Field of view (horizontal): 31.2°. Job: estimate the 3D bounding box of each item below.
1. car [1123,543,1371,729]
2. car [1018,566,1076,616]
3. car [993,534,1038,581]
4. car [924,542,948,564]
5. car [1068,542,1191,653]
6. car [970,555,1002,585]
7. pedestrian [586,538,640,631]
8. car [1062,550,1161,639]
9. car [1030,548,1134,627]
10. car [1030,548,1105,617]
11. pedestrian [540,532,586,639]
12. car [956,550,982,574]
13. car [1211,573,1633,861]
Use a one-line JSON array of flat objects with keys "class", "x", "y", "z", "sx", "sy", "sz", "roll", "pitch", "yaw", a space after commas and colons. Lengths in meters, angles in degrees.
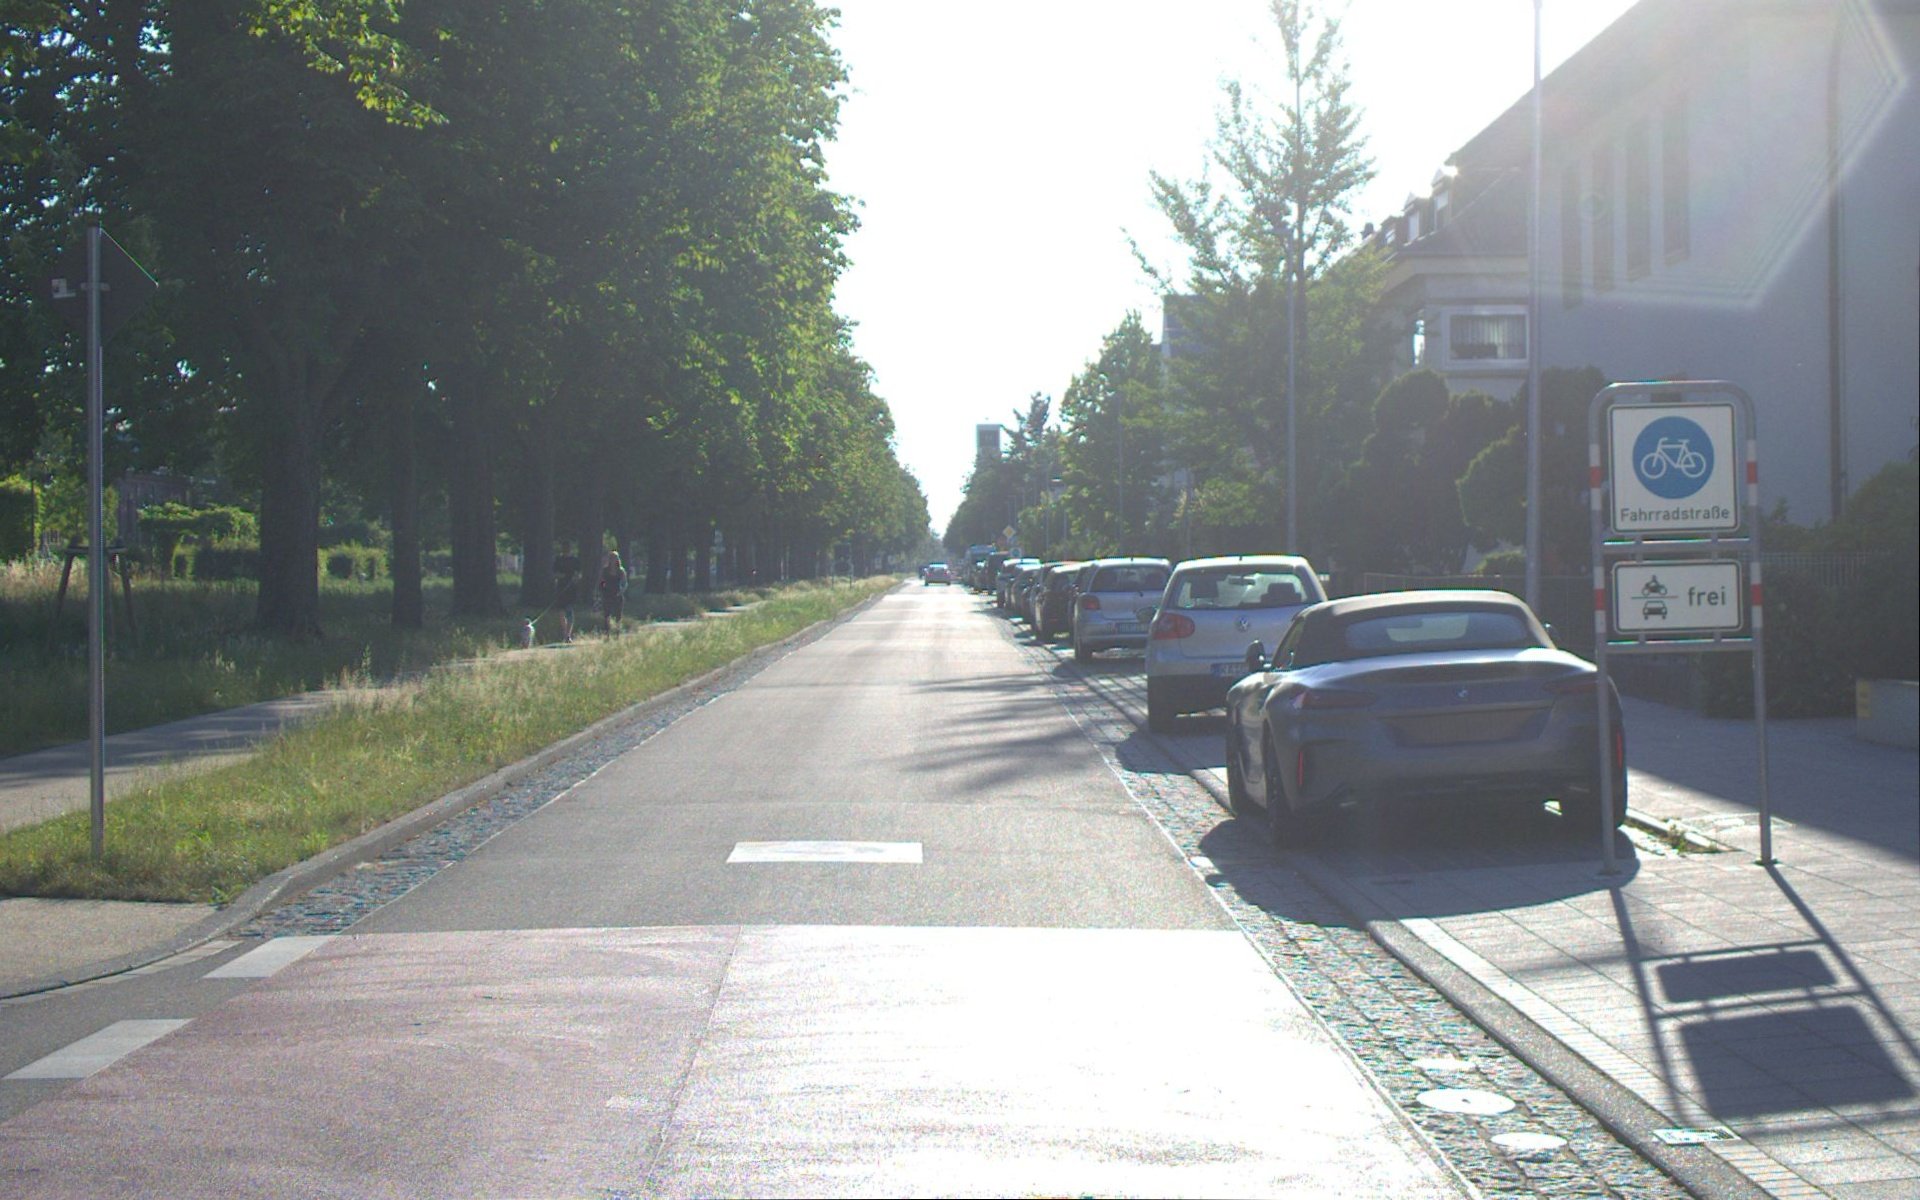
[{"class": "car", "x": 2.509, "y": 0.276, "z": 30.926, "sx": 1.744, "sy": 1.469, "sz": 3.922, "roll": -3, "pitch": 1, "yaw": -1}, {"class": "car", "x": 2.510, "y": -0.269, "z": 100.030, "sx": 1.652, "sy": 1.391, "sz": 3.266, "roll": -1, "pitch": 1, "yaw": 1}, {"class": "car", "x": 1.919, "y": -1.473, "z": 118.920, "sx": 1.498, "sy": 1.561, "sz": 3.266, "roll": -1, "pitch": 1, "yaw": 1}, {"class": "car", "x": -1.679, "y": -3.297, "z": 242.945, "sx": 1.652, "sy": 1.536, "sz": 3.267, "roll": 1, "pitch": 1, "yaw": 0}, {"class": "car", "x": 2.479, "y": -0.067, "z": 50.884, "sx": 1.627, "sy": 1.499, "sz": 3.633, "roll": -2, "pitch": 1, "yaw": 1}, {"class": "car", "x": 1.385, "y": -1.571, "z": 180.730, "sx": 1.652, "sy": 1.536, "sz": 3.266, "roll": 1, "pitch": 1, "yaw": 1}, {"class": "pedestrian", "x": -6.005, "y": -0.274, "z": 59.600, "sx": 0.783, "sy": 1.609, "sz": 0.952, "roll": 0, "pitch": 1, "yaw": 3}, {"class": "car", "x": 2.720, "y": -0.104, "z": 61.203, "sx": 1.658, "sy": 1.489, "sz": 3.715, "roll": -2, "pitch": 0, "yaw": 3}, {"class": "car", "x": 2.357, "y": -0.252, "z": 67.363, "sx": 1.736, "sy": 1.444, "sz": 4.197, "roll": -2, "pitch": 0, "yaw": -1}, {"class": "car", "x": 2.388, "y": -0.403, "z": 77.054, "sx": 1.592, "sy": 1.505, "sz": 3.591, "roll": -1, "pitch": 1, "yaw": 0}, {"class": "pedestrian", "x": -6.835, "y": -0.249, "z": 59.216, "sx": 0.624, "sy": 1.824, "sz": 0.886, "roll": 0, "pitch": 1, "yaw": 3}, {"class": "car", "x": 0.591, "y": -2.468, "z": 224.727, "sx": 1.652, "sy": 1.536, "sz": 3.266, "roll": 1, "pitch": 1, "yaw": 1}, {"class": "car", "x": 2.490, "y": 0.574, "z": 19.497, "sx": 1.774, "sy": 1.284, "sz": 4.273, "roll": -3, "pitch": 2, "yaw": 0}]
